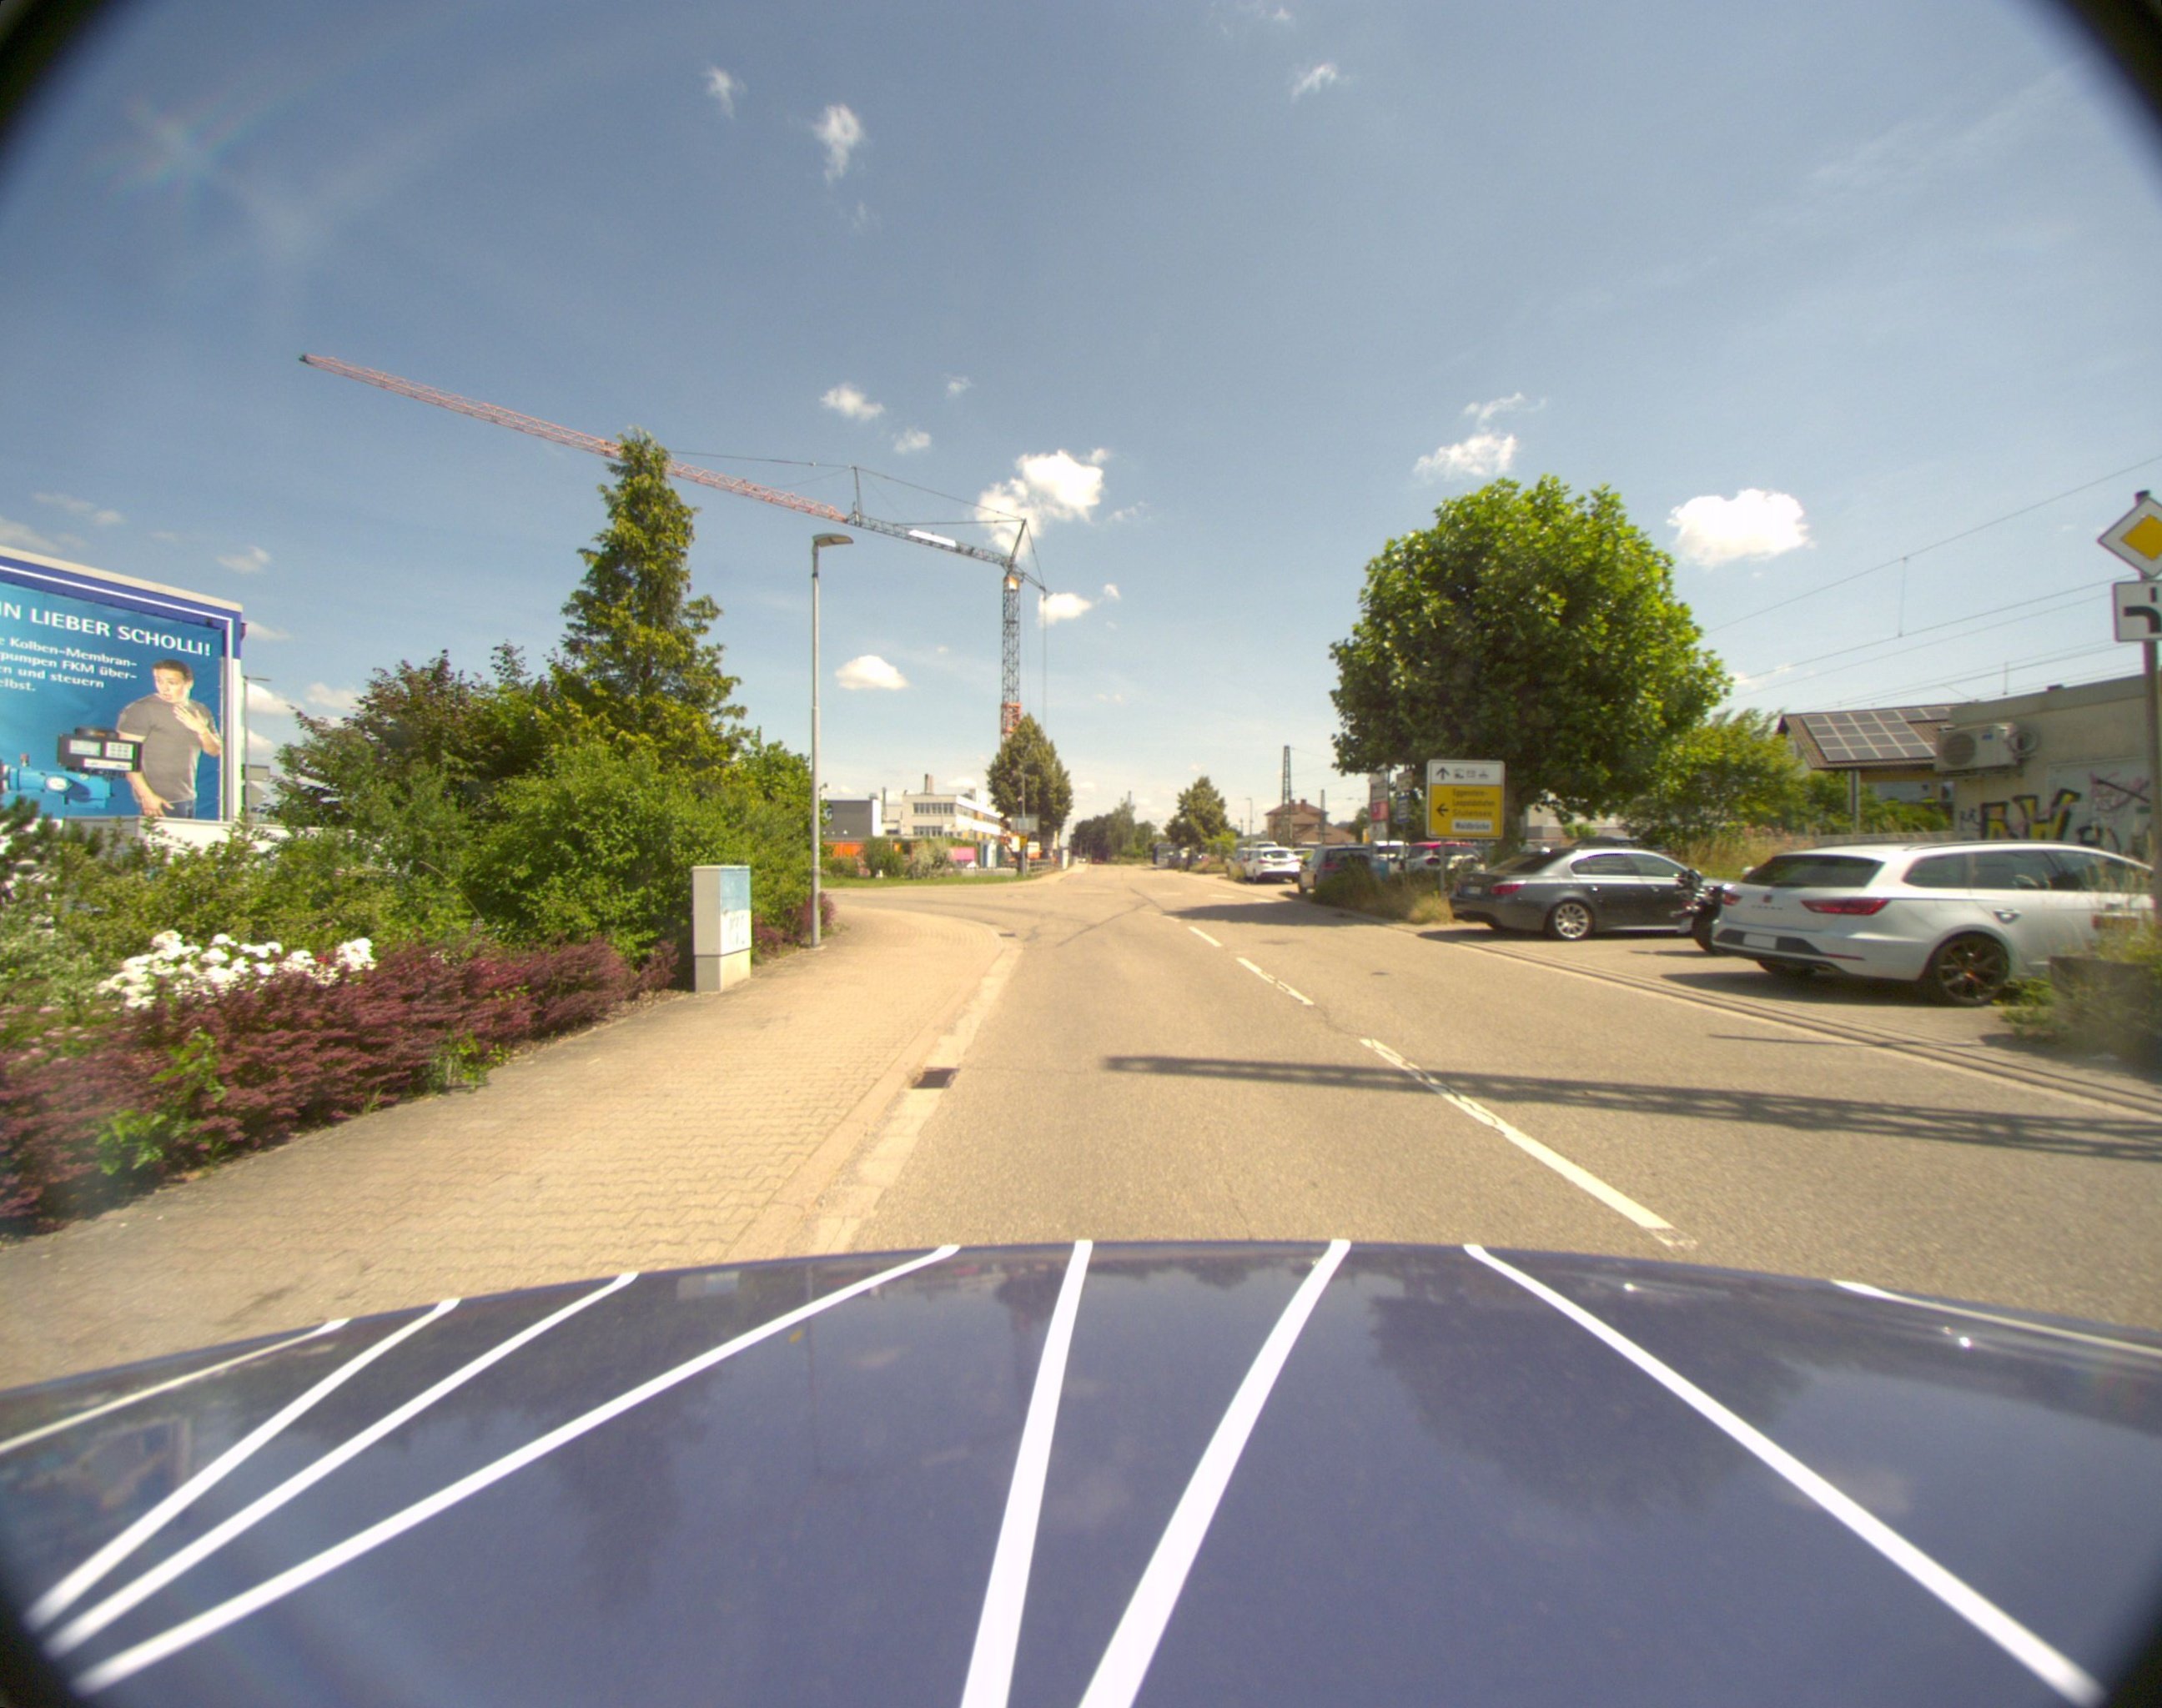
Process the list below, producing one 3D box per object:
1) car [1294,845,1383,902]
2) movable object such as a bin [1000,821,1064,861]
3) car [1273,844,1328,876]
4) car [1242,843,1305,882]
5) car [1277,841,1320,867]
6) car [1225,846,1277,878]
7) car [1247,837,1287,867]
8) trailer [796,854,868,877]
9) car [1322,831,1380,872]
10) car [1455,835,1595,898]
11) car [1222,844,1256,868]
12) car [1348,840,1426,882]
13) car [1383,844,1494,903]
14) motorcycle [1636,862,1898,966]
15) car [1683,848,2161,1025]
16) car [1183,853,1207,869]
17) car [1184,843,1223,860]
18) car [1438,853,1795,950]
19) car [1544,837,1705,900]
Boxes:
[{"bbox_3d":[7.454,0.493,22.367,1.688,1.522,4.064,0,1,7],"label":"car"},{"bbox_3d":[-4.344,-1.167,67.159,5.133,3.277,2.390,0,6,-16],"label":"movable object such as a bin"},{"bbox_3d":[11.039,0.267,38.469,1.804,1.555,4.263,0,1,4],"label":"car"},{"bbox_3d":[8.089,0.326,32.309,1.807,1.555,4.263,0,1,3],"label":"car"},{"bbox_3d":[14.255,-0.013,50.002,1.952,1.600,4.273,0,1,6],"label":"car"},{"bbox_3d":[8.506,0.347,38.339,1.795,1.535,3.960,0,1,1],"label":"car"},{"bbox_3d":[11.754,-0.129,48.189,1.952,1.822,3.836,0,1,6],"label":"car"},{"bbox_3d":[-20.129,0.902,61.644,5.401,1.769,1.819,0,3,-13],"label":"trailer"},{"bbox_3d":[13.799,-0.125,39.073,1.849,2.002,4.001,0,1,5],"label":"car"},{"bbox_3d":[12.596,0.301,21.894,1.997,1.628,4.088,0,1,7],"label":"car"},{"bbox_3d":[11.566,0.151,55.767,1.732,1.676,4.000,1,1,2],"label":"car"},{"bbox_3d":[12.756,0.239,31.984,1.997,1.648,4.264,-1,1,7],"label":"car"},{"bbox_3d":[10.041,0.486,21.619,1.794,1.528,3.580,0,1,7],"label":"car"},{"bbox_3d":[8.764,0.751,9.776,2.731,1.273,0.718,0,1,-1],"label":"motorcycle"},{"bbox_3d":[8.524,0.686,7.318,4.084,1.394,1.786,-1,1,-2],"label":"car"},{"bbox_3d":[9.885,0.563,65.953,1.607,1.342,4.000,0,1,2],"label":"car"},{"bbox_3d":[11.866,-0.275,73.878,3.437,1.583,1.648,0,3,-5],"label":"car"},{"bbox_3d":[8.293,0.699,12.033,4.438,1.402,1.787,0,1,-2],"label":"car"},{"bbox_3d":[15.463,0.360,21.929,1.997,1.628,4.088,0,1,6],"label":"car"}]
